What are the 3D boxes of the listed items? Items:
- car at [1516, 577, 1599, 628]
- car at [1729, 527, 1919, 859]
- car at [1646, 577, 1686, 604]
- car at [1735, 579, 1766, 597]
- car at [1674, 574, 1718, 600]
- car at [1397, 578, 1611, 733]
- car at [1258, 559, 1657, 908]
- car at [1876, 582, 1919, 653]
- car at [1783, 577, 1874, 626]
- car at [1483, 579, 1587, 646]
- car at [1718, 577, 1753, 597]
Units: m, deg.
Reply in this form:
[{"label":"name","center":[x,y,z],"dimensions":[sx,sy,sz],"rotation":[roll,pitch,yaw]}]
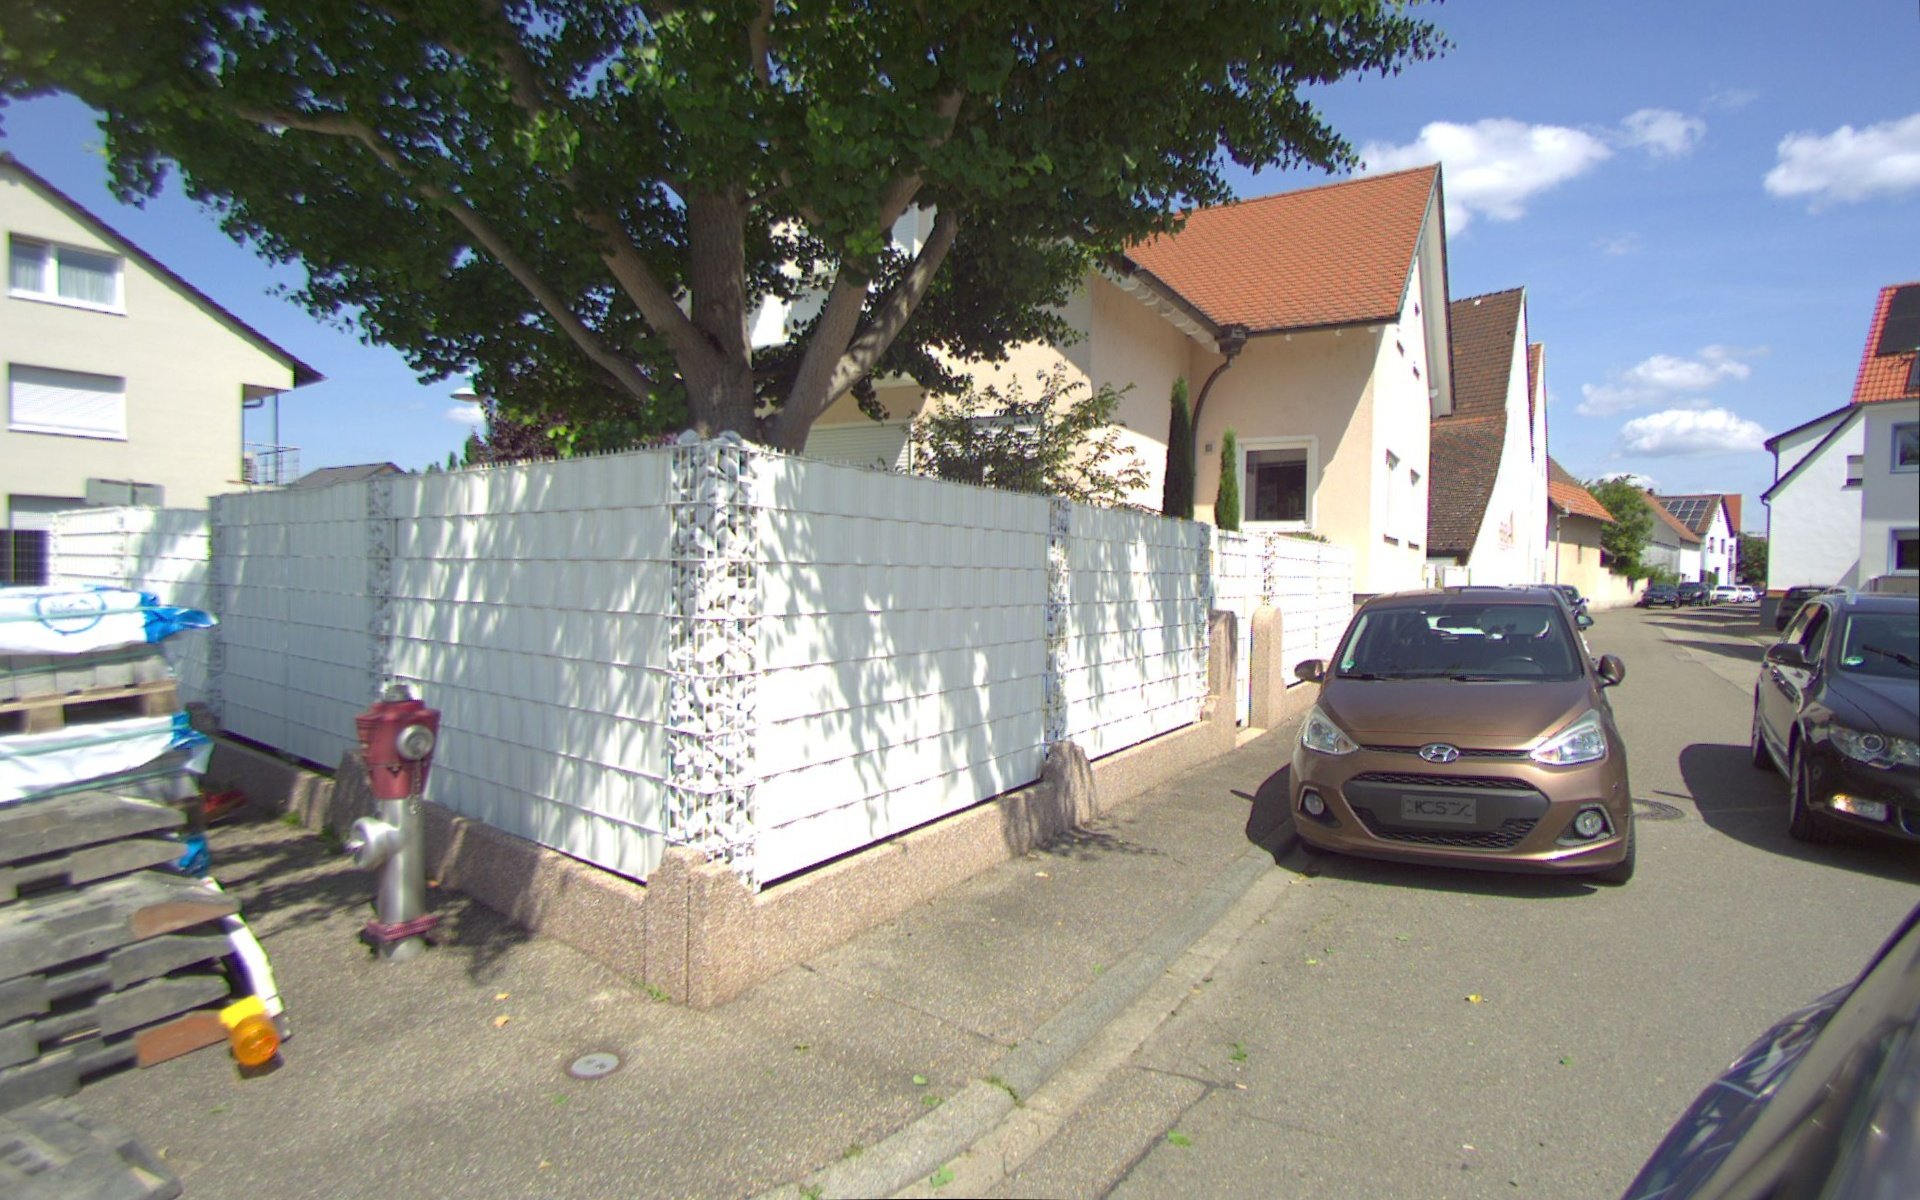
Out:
[{"label":"car","center":[18.244,0.009,30.811],"dimensions":[1.889,1.382,4.360],"rotation":[2,2,35]},{"label":"car","center":[6.308,0.592,6.441],"dimensions":[1.775,1.554,4.652],"rotation":[7,2,33]},{"label":"car","center":[41.947,-0.591,60.070],"dimensions":[1.776,1.497,3.947],"rotation":[3,3,37]},{"label":"car","center":[70.285,-1.094,89.926],"dimensions":[1.780,1.519,3.976],"rotation":[-1,0,44]},{"label":"car","center":[48.294,-0.844,66.361],"dimensions":[1.780,1.629,3.937],"rotation":[-1,0,44]},{"label":"car","center":[6.639,0.480,12.296],"dimensions":[1.886,1.446,4.687],"rotation":[1,2,30]},{"label":"car","center":[3.340,0.572,6.677],"dimensions":[1.703,1.552,3.993],"rotation":[-2,0,30]},{"label":"car","center":[20.933,0.330,21.268],"dimensions":[4.388,1.366,1.774],"rotation":[-2,1,-38]},{"label":"car","center":[28.216,0.026,32.840],"dimensions":[3.719,1.473,1.641],"rotation":[0,1,-40]},{"label":"car","center":[13.857,0.217,24.253],"dimensions":[1.888,1.382,4.682],"rotation":[2,2,33]},{"label":"car","center":[62.139,-1.087,81.085],"dimensions":[1.780,1.519,3.976],"rotation":[-1,0,44]}]
